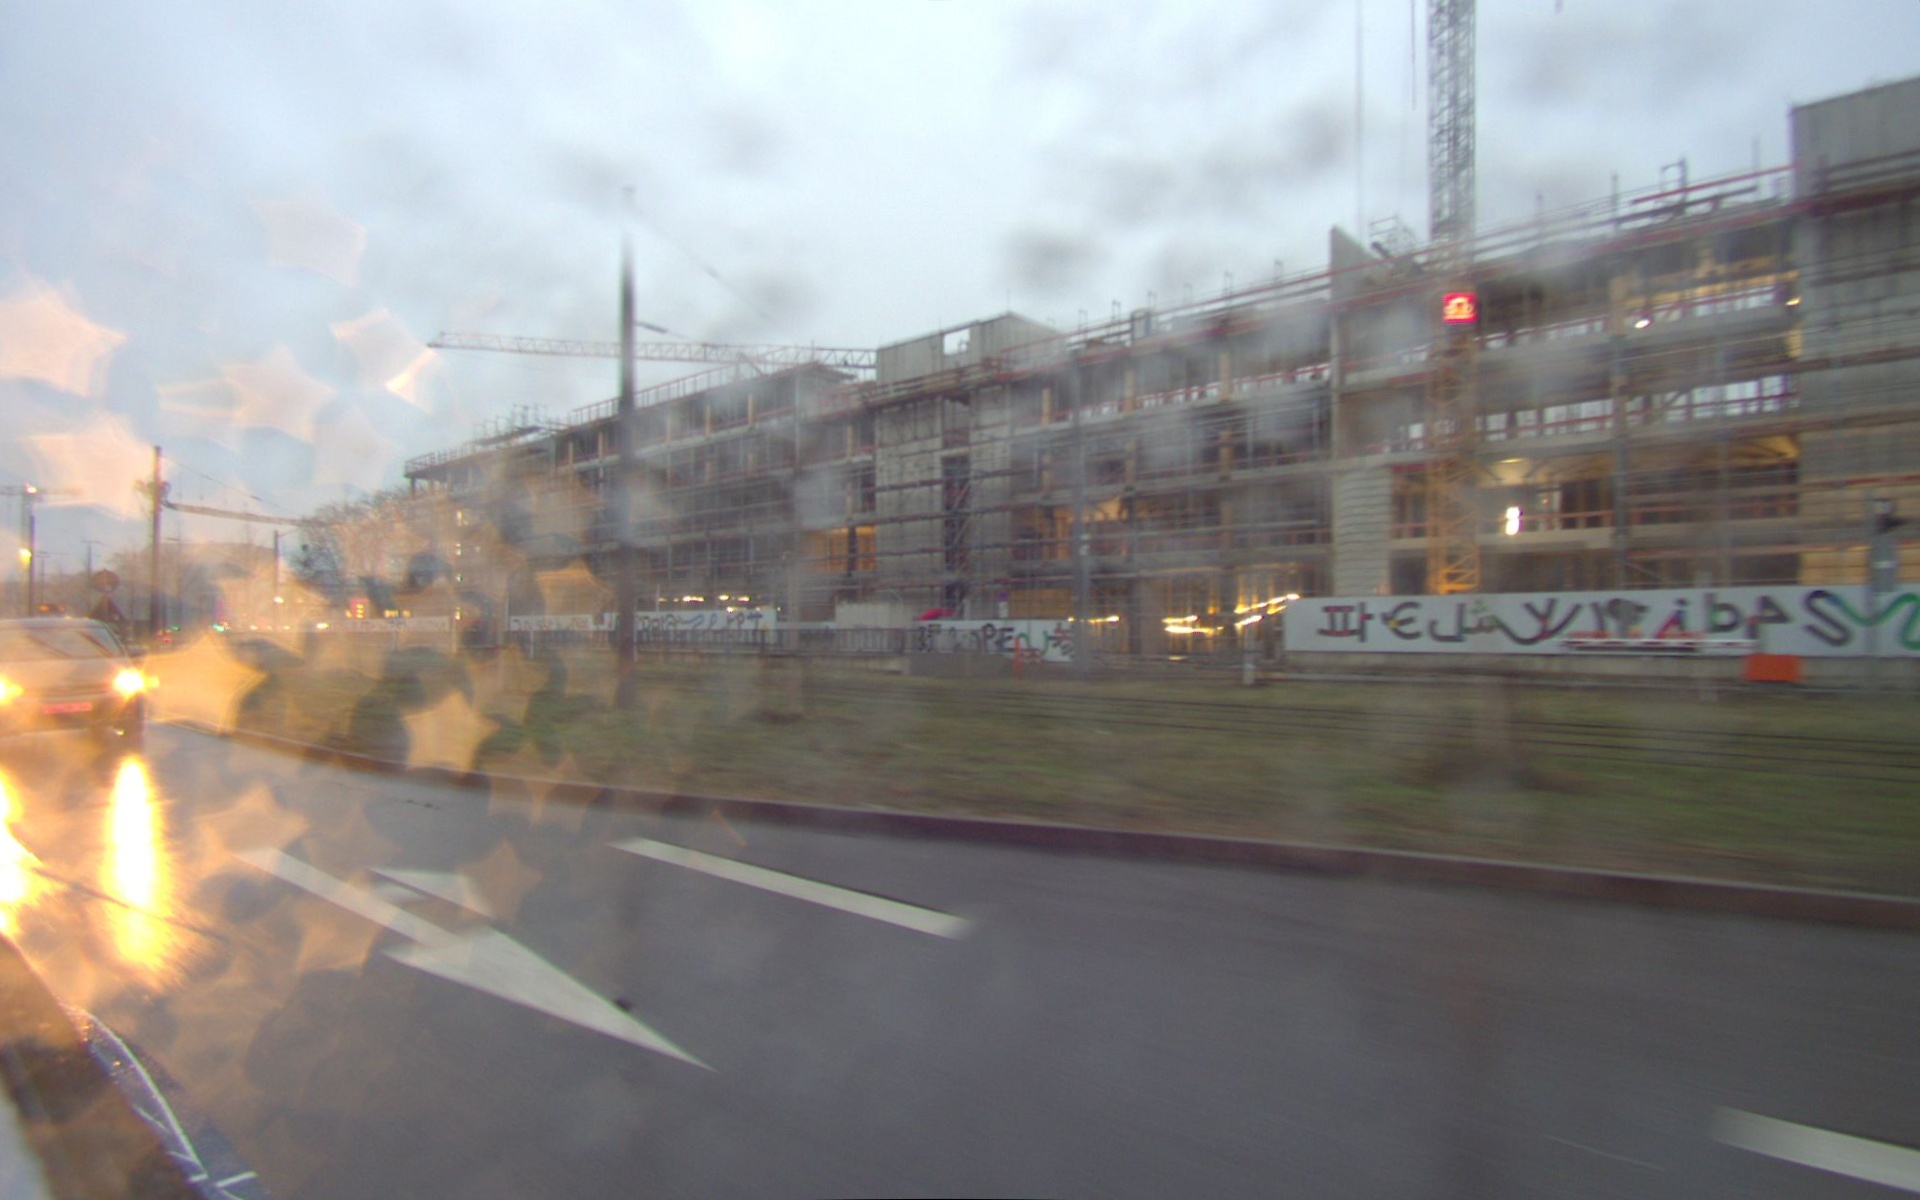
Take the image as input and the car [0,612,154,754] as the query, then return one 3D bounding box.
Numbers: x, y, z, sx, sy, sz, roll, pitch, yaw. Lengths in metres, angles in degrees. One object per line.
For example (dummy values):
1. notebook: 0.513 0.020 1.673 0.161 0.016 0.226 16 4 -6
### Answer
1. car: -12.480 1.037 13.664 4.133 1.659 1.792 -2 -2 41
